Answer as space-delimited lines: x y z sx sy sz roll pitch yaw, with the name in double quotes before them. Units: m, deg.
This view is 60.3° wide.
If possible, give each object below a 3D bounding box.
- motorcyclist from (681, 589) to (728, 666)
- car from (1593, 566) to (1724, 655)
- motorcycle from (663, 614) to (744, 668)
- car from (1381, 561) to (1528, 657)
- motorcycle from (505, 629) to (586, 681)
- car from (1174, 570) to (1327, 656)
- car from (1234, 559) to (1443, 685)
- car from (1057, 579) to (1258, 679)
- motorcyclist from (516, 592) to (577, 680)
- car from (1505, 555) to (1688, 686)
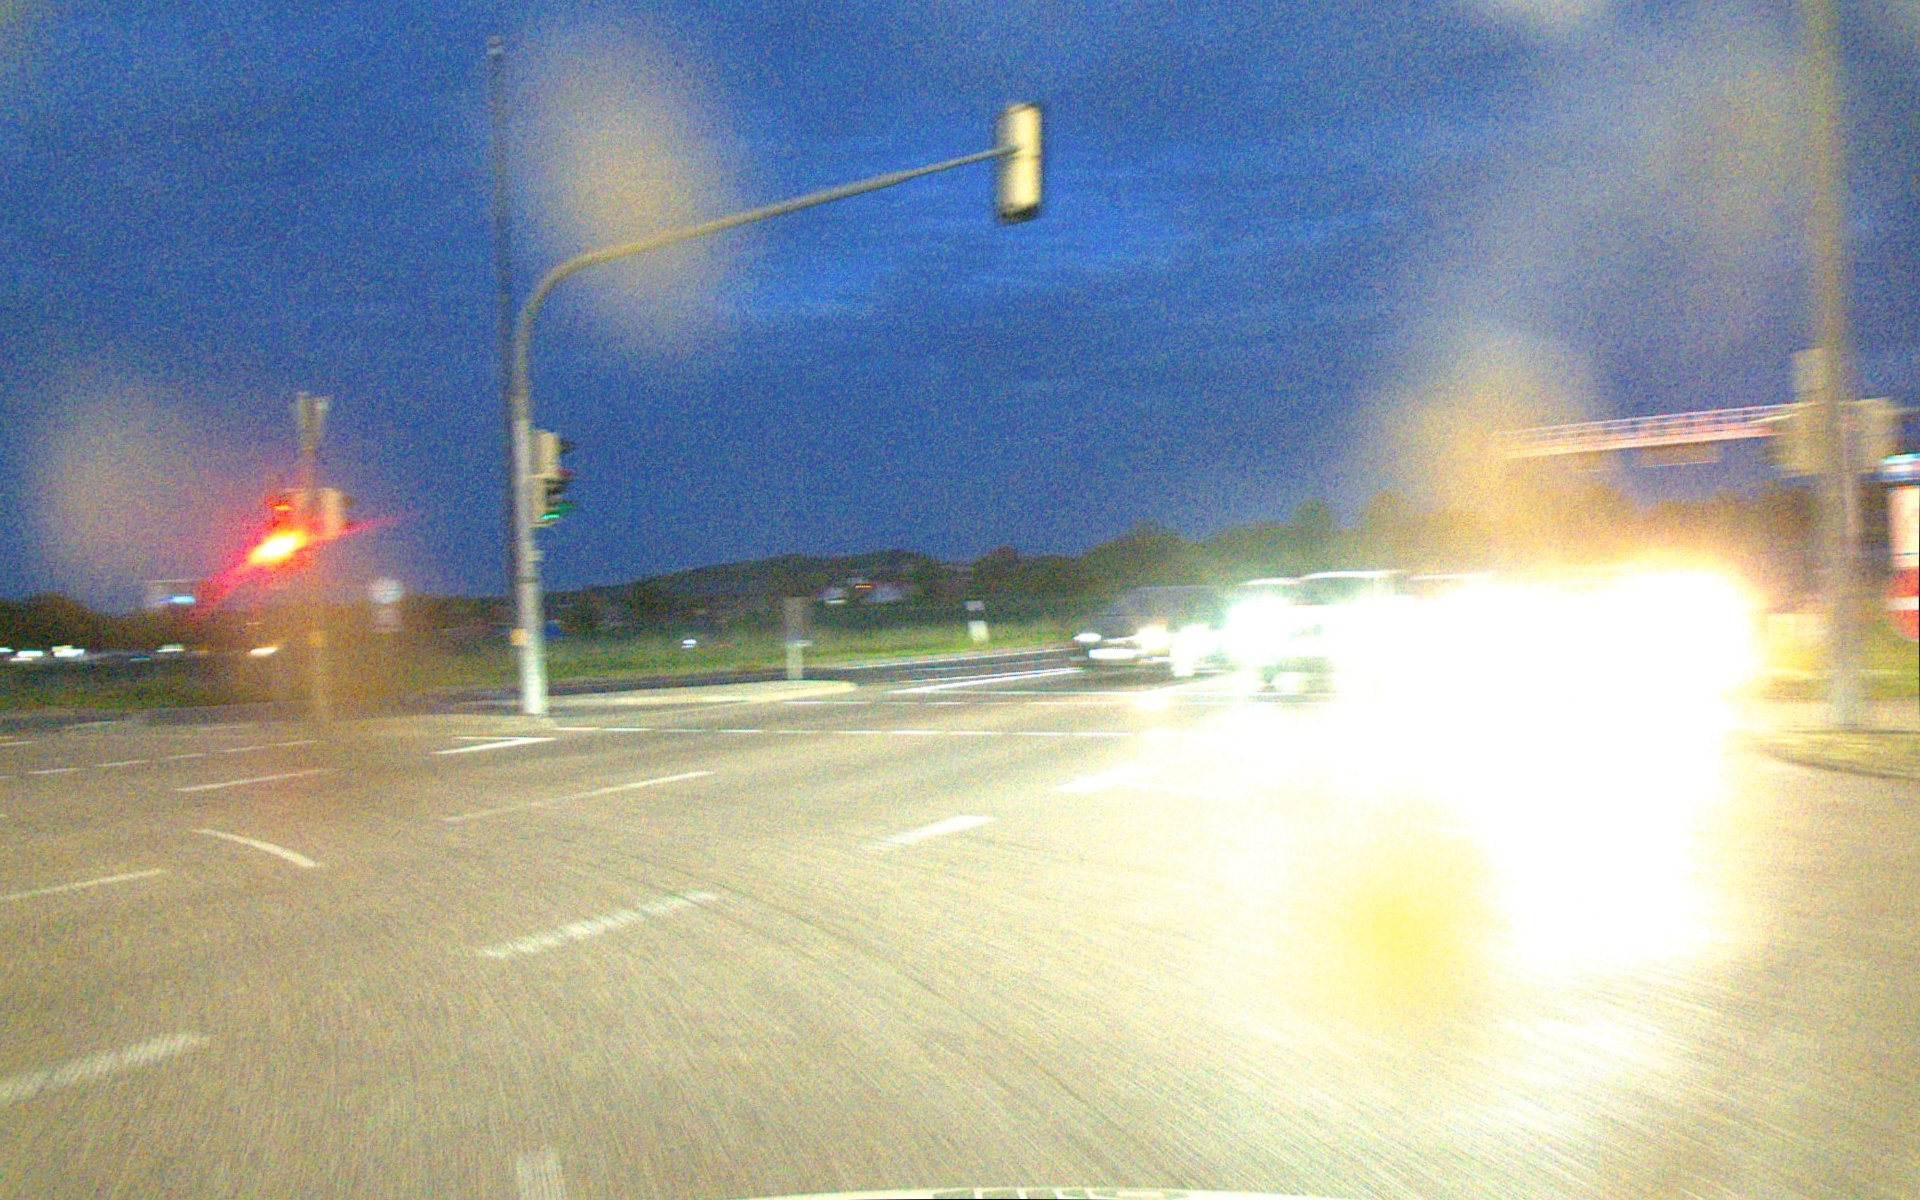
"motorcyclist" -6.175 0.669 39.958 0.671 1.790 0.786 -7 -5 38
"car" 12.853 0.152 30.318 1.740 1.506 3.903 -1 1 30
"motorcycle" -6.184 0.988 39.931 0.833 1.202 1.813 -7 -4 38
"car" 9.443 0.129 31.382 1.713 1.655 4.355 -1 1 30
"motorcycle" -9.097 1.198 36.324 0.711 1.051 1.566 -9 -6 44
"car" 5.926 0.229 33.398 1.797 1.551 3.994 -2 0 29
"car" 5.807 0.271 24.989 1.872 1.711 4.412 -1 1 30
"car" 3.396 0.442 27.718 1.747 1.471 4.282 -1 1 31
"motorcyclist" -9.100 0.783 36.383 0.902 1.840 0.864 -9 -6 44
"car" 9.178 0.231 23.626 1.817 1.661 4.578 -1 1 29
